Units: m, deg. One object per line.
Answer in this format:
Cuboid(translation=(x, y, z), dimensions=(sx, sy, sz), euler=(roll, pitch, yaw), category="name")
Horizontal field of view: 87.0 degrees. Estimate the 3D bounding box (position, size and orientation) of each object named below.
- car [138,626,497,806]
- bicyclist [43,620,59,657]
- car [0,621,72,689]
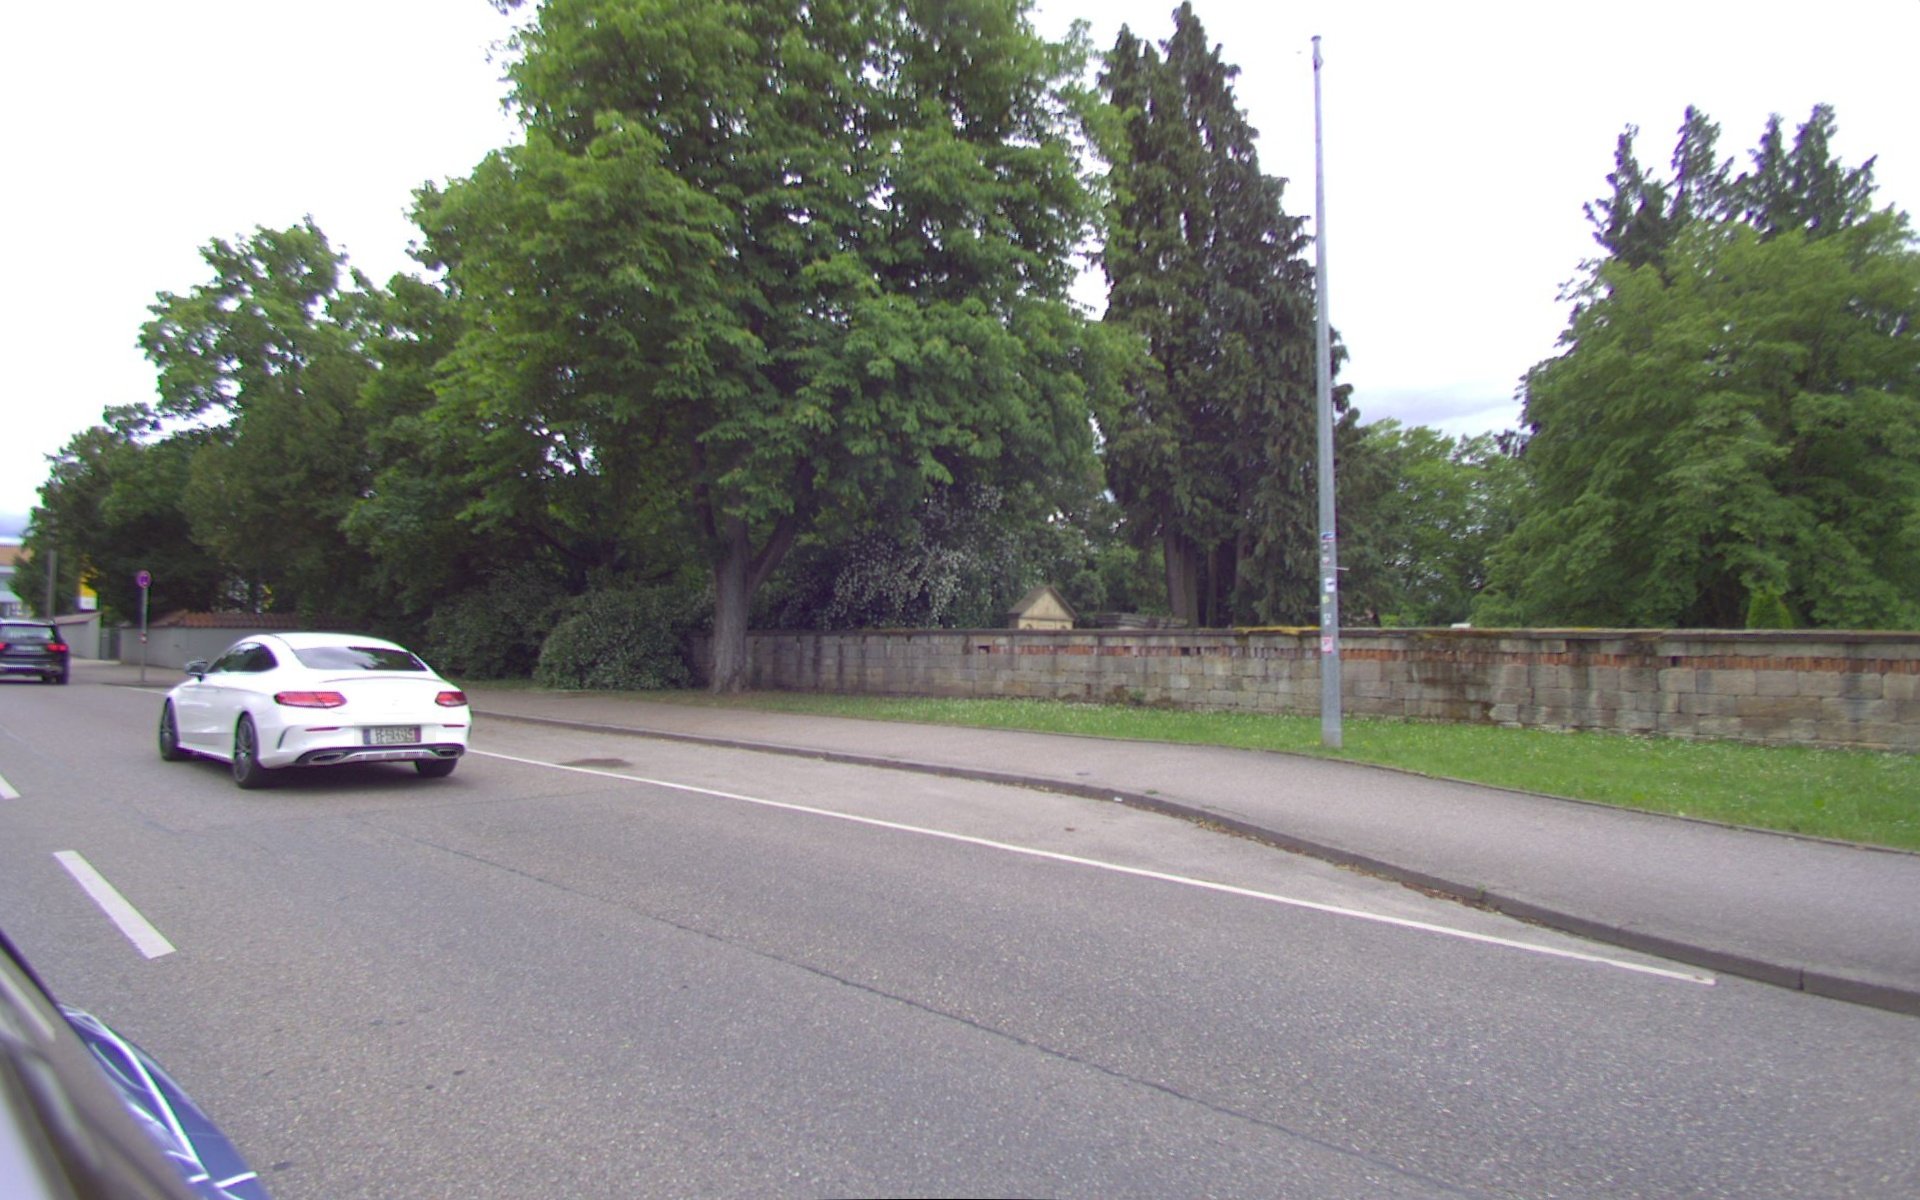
Cuboid(translation=(-6.773, 1.044, 10.423), dimensions=(4.827, 1.430, 1.795), euler=(-1, -6, 42), category="car")
Cuboid(translation=(-43.445, 1.835, 48.352), dimensions=(0.588, 1.697, 0.482), euler=(-1, 0, 42), category="bicyclist")
Cuboid(translation=(-25.086, 1.419, 26.750), dimensions=(4.126, 1.657, 1.860), euler=(-1, -5, 42), category="car")
